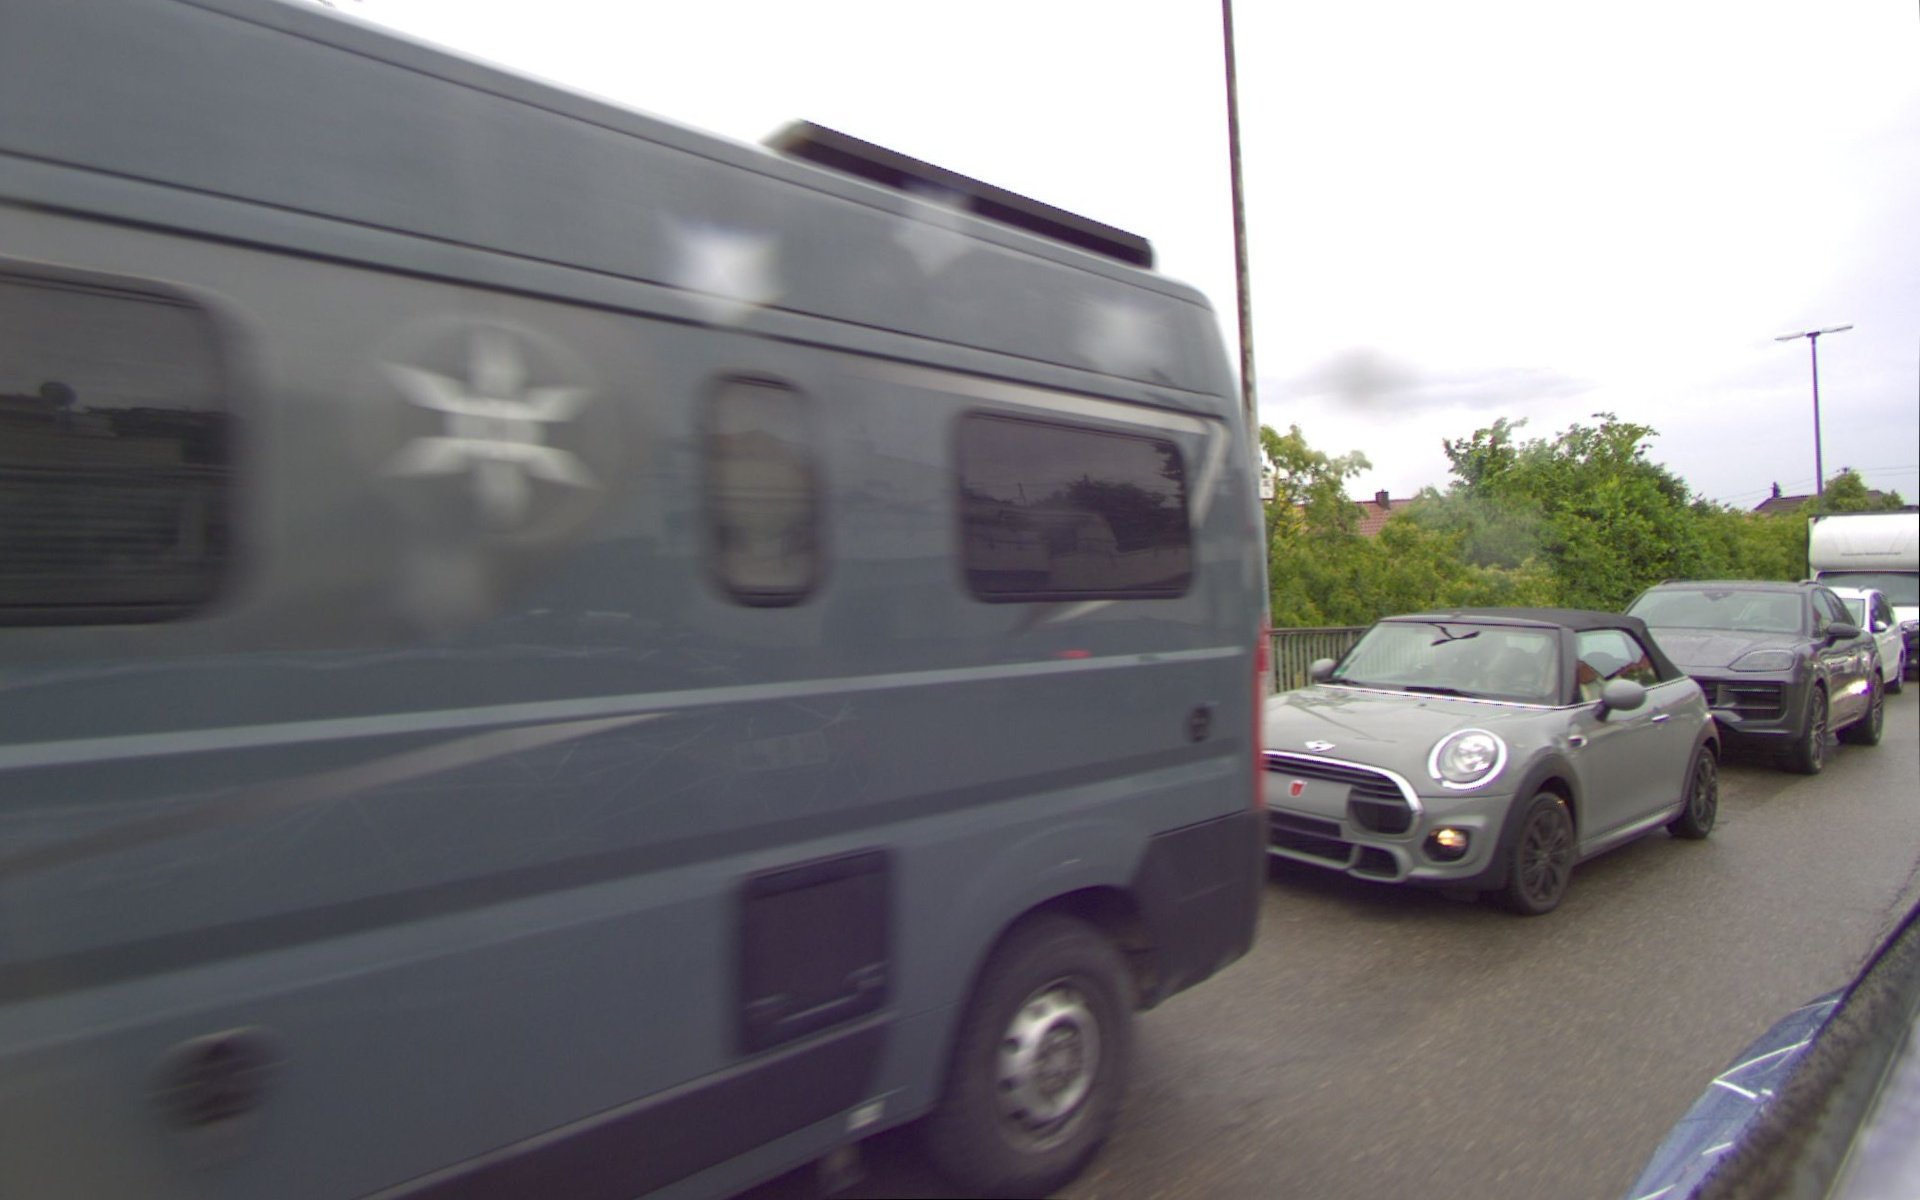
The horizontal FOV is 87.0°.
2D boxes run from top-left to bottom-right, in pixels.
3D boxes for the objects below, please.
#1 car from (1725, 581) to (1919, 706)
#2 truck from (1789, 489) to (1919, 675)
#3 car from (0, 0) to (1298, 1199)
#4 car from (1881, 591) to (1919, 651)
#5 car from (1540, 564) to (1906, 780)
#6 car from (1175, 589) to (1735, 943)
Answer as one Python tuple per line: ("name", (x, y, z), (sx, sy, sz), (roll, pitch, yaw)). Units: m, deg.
("car", (14.174, 0.552, 16.354), (5.541, 1.704, 1.849), (-1, 1, -42))
("truck", (19.950, -0.388, 21.498), (7.828, 3.377, 2.440), (-1, 1, -42))
("car", (-1.804, 0.144, 1.929), (5.853, 2.537, 2.034), (0, 1, -42))
("car", (26.021, 0.516, 26.910), (4.902, 1.456, 1.834), (-1, 1, -43))
("car", (7.789, 0.539, 10.158), (4.611, 1.693, 1.940), (0, 1, -40))
("car", (3.078, 0.662, 5.965), (3.730, 1.447, 1.592), (0, 1, -40))
